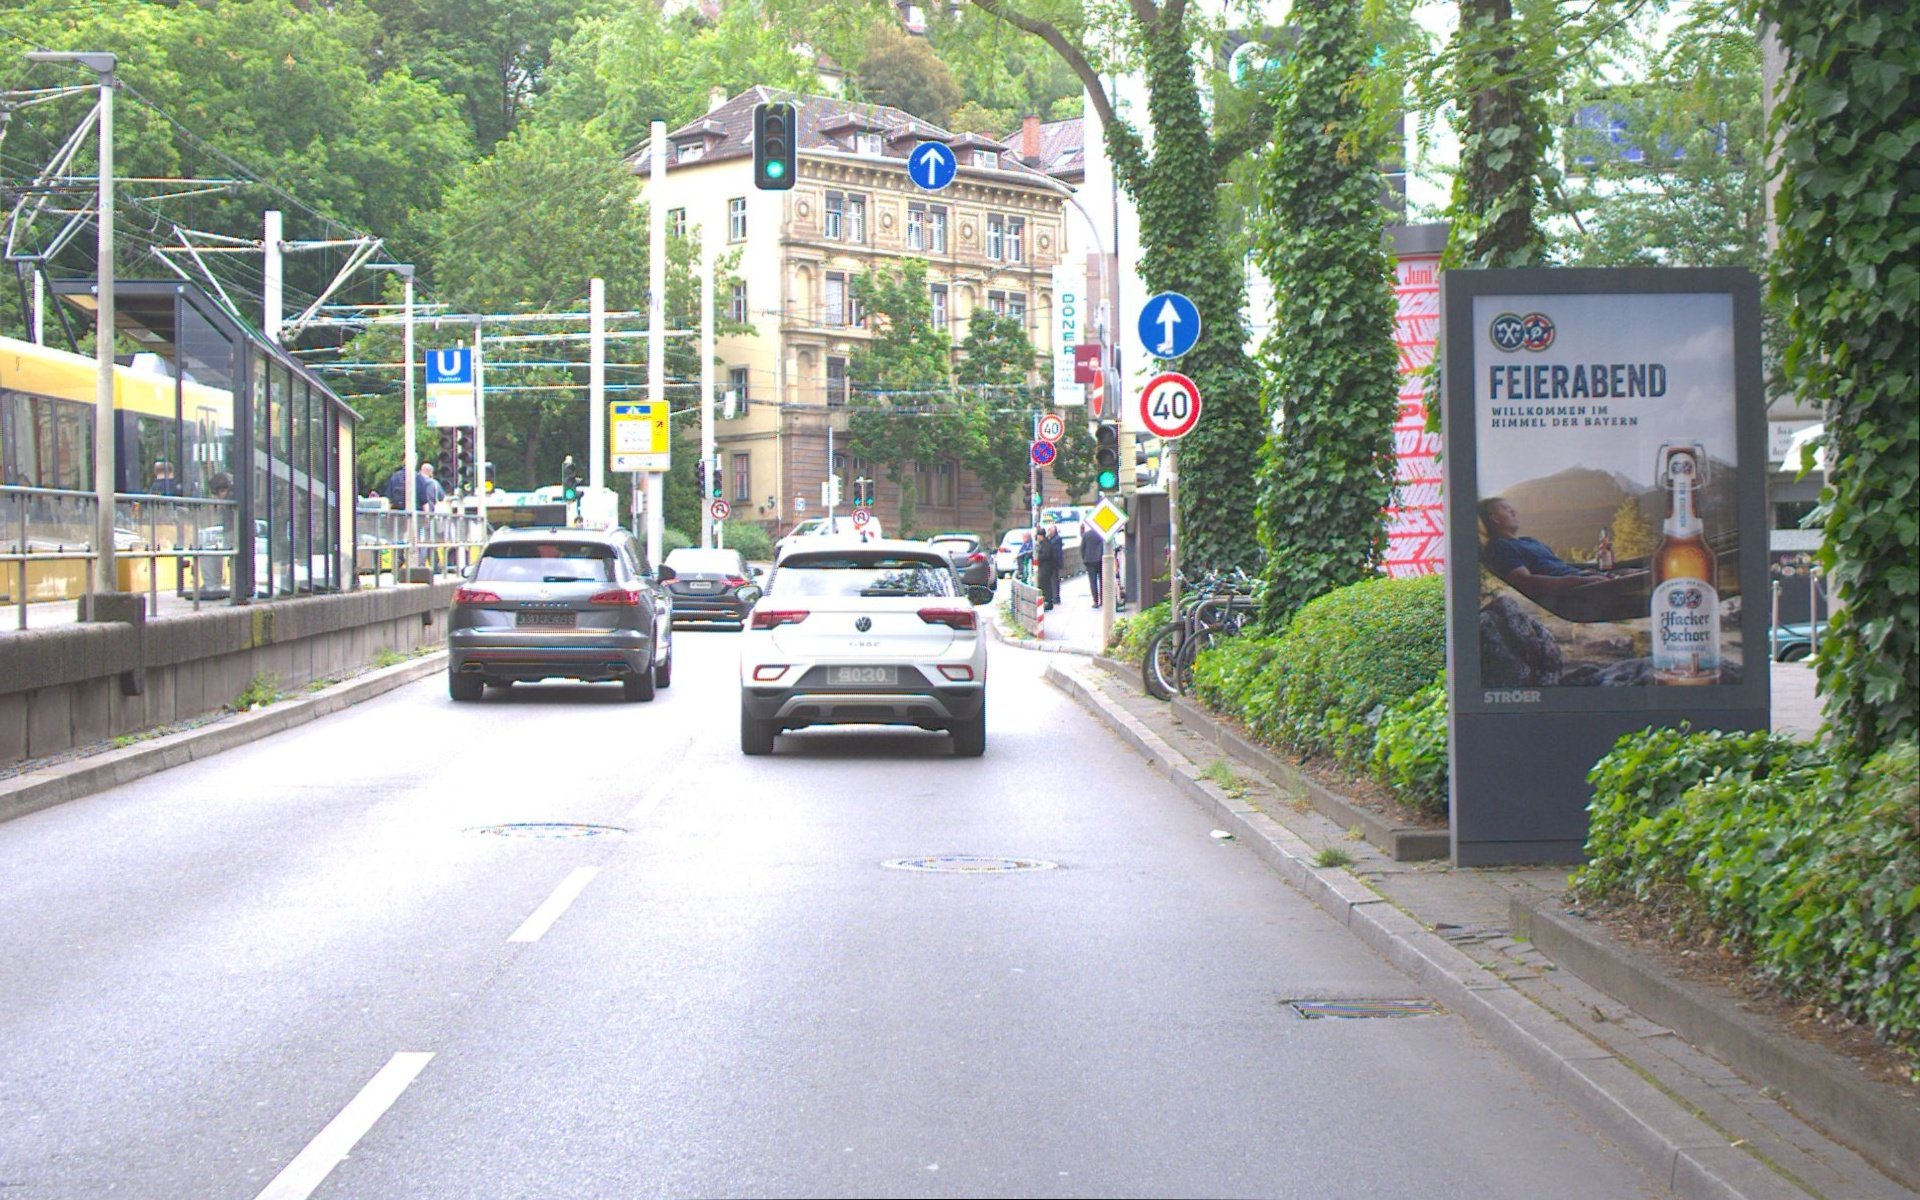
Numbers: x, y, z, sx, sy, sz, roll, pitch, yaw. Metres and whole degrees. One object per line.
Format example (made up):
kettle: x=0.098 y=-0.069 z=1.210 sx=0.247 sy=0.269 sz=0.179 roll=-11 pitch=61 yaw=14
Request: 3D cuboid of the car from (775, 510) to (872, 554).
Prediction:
car: x=-5.485 y=-2.714 z=138.412 sx=1.916 sy=1.683 sz=3.992 roll=2 pitch=1 yaw=34

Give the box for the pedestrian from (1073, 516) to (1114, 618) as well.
pedestrian: x=2.669 y=-0.657 z=68.661 sx=0.762 sy=2.007 sz=0.838 roll=1 pitch=-1 yaw=5

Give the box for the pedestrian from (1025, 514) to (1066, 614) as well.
pedestrian: x=1.740 y=-0.722 z=69.675 sx=0.762 sy=2.007 sz=0.838 roll=1 pitch=-1 yaw=5

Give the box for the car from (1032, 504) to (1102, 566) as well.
car: x=3.874 y=-2.318 z=123.675 sx=2.365 sy=2.007 sz=5.147 roll=1 pitch=-1 yaw=3

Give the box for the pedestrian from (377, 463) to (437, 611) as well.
pedestrian: x=-7.640 y=-0.856 z=47.503 sx=0.762 sy=2.007 sz=0.838 roll=1 pitch=-1 yaw=-7

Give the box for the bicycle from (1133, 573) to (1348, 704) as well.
bicycle: x=2.524 y=0.347 z=30.830 sx=1.881 sy=1.133 sz=0.808 roll=1 pitch=-1 yaw=6

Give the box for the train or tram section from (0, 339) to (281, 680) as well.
train or tram section: x=-10.019 y=-0.989 z=40.407 sx=2.813 sy=3.654 sz=6.751 roll=1 pitch=0 yaw=-1

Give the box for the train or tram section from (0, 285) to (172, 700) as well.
train or tram section: x=-9.860 y=-0.976 z=33.667 sx=2.813 sy=3.654 sz=6.751 roll=1 pitch=0 yaw=-1

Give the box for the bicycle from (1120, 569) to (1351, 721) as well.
bicycle: x=2.358 y=0.381 z=29.338 sx=1.882 sy=1.262 sz=0.764 roll=1 pitch=-1 yaw=11

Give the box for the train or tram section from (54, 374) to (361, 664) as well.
train or tram section: x=-10.166 y=-1.044 z=47.151 sx=2.813 sy=3.654 sz=6.751 roll=1 pitch=0 yaw=-1

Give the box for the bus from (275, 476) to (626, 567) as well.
bus: x=-18.488 y=-2.781 z=124.209 sx=13.303 sy=3.054 sz=3.377 roll=0 pitch=-1 yaw=30

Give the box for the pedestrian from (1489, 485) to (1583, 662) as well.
pedestrian: x=5.319 y=-0.235 z=31.754 sx=0.635 sy=1.610 sz=0.588 roll=1 pitch=-1 yaw=-20

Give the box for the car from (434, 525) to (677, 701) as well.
car: x=-3.932 y=0.097 z=34.047 sx=1.993 sy=1.630 sz=4.000 roll=0 pitch=1 yaw=-1

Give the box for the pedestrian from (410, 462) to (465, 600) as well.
pedestrian: x=-7.785 y=-1.018 z=51.229 sx=0.762 sy=2.007 sz=0.838 roll=1 pitch=-1 yaw=-7

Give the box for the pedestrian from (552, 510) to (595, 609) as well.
pedestrian: x=-7.930 y=-0.820 z=70.563 sx=0.762 sy=2.007 sz=0.838 roll=1 pitch=-1 yaw=0

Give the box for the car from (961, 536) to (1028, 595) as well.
car: x=1.055 y=-1.028 z=103.899 sx=1.885 sy=1.678 sz=4.160 roll=1 pitch=-1 yaw=2

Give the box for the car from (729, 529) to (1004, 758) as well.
car: x=-0.625 y=0.289 z=26.005 sx=1.837 sy=1.578 sz=4.157 roll=0 pitch=0 yaw=2

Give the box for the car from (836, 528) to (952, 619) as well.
car: x=-1.344 y=-0.499 z=68.311 sx=1.884 sy=1.678 sz=4.162 roll=1 pitch=-1 yaw=-7

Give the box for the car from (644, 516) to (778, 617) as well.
car: x=-4.341 y=-0.608 z=60.520 sx=1.912 sy=1.683 sz=4.000 roll=1 pitch=1 yaw=2

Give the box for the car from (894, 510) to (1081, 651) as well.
car: x=0.313 y=-0.222 z=45.797 sx=1.884 sy=1.678 sz=4.162 roll=-3 pitch=0 yaw=-7

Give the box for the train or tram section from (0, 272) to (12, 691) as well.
train or tram section: x=-9.719 y=-1.040 z=26.896 sx=2.813 sy=3.654 sz=6.751 roll=1 pitch=0 yaw=-1

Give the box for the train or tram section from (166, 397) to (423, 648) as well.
train or tram section: x=-10.309 y=-1.152 z=53.910 sx=2.813 sy=3.654 sz=6.751 roll=1 pitch=0 yaw=-1
